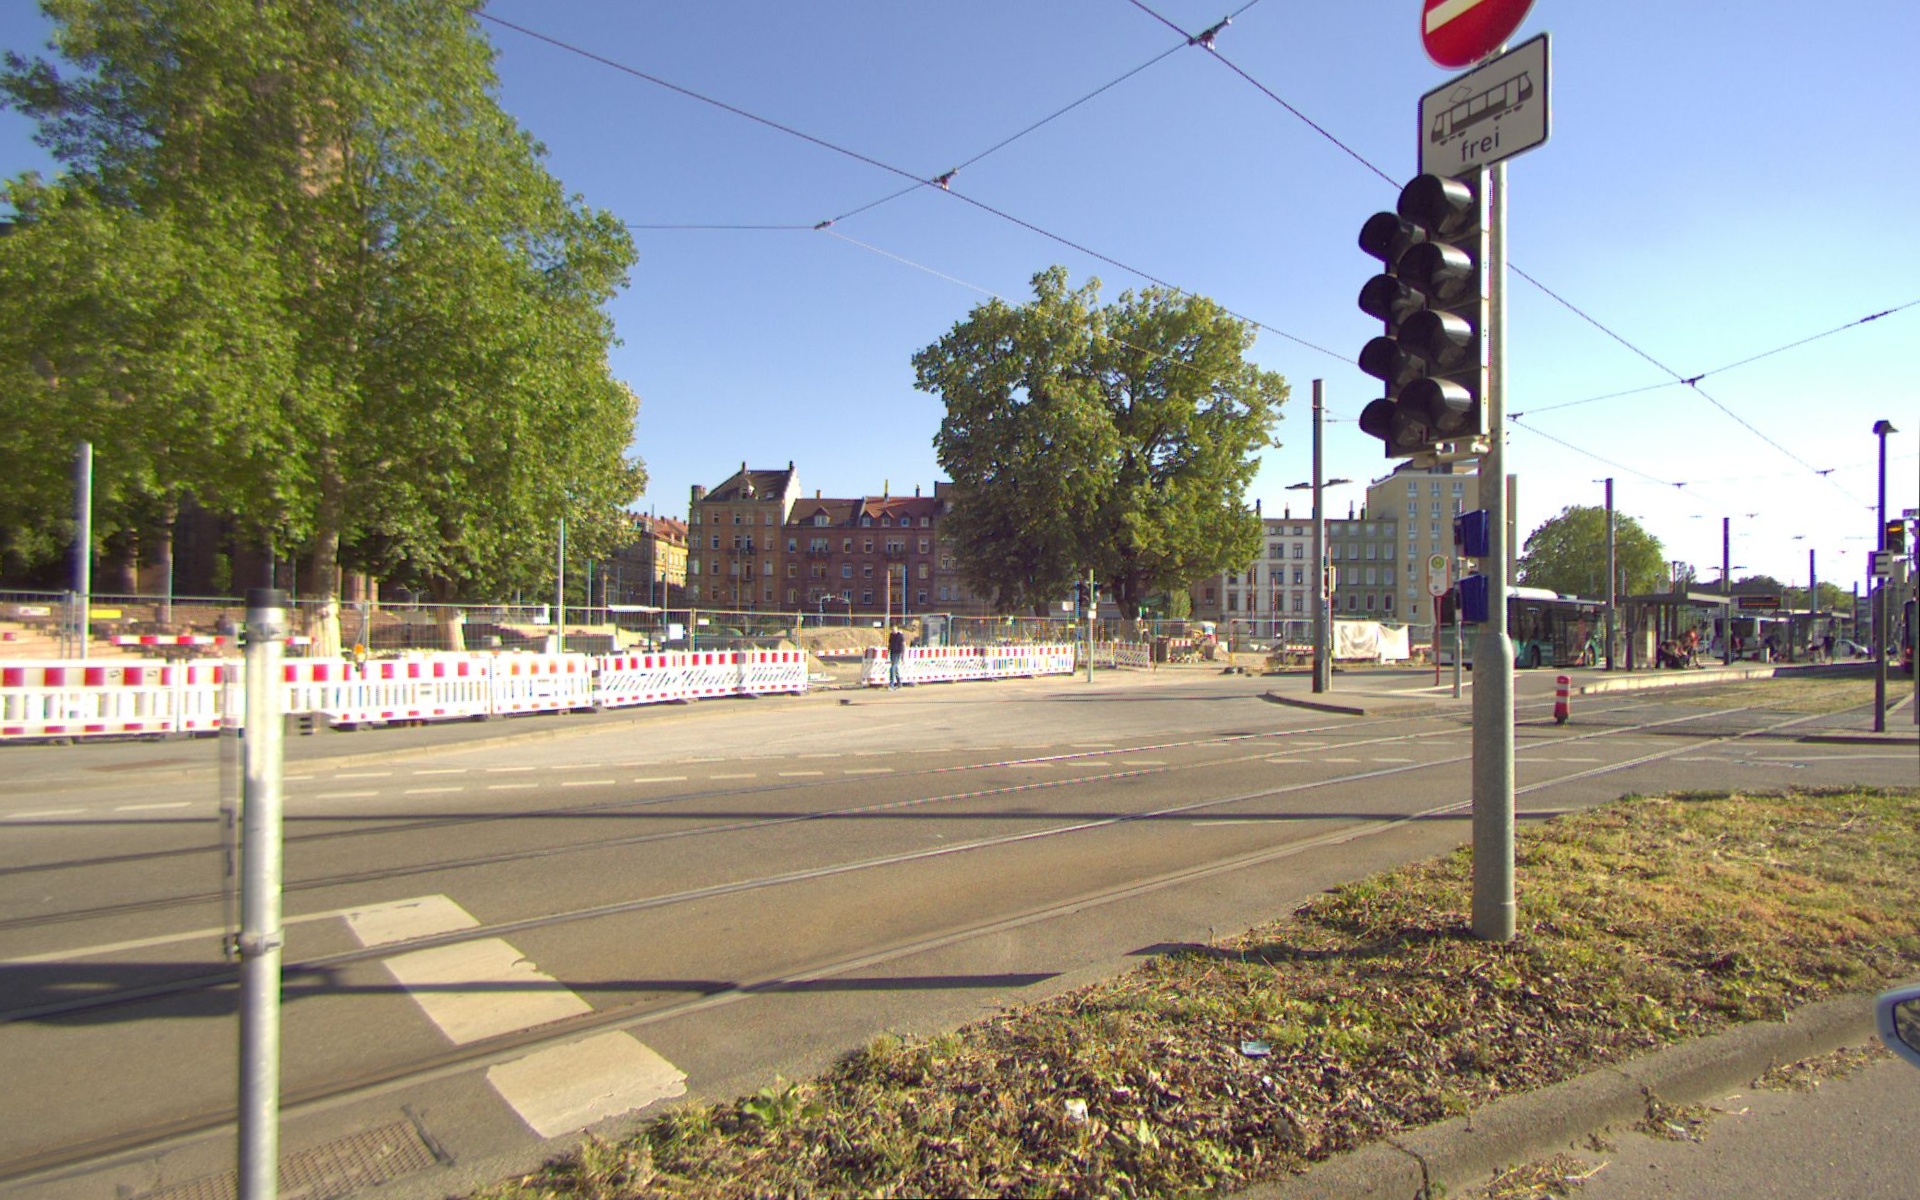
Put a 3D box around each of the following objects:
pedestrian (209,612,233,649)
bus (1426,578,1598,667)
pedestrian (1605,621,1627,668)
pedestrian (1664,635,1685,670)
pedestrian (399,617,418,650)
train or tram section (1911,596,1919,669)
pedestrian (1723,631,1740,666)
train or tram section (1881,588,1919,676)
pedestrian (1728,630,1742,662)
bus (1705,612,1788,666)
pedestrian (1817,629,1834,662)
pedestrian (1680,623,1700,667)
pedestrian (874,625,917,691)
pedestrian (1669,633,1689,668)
[{"bbox_3d":[-33.538,1.395,45.608,0.665,1.669,0.635,1,-1,-18],"label":"pedestrian"},{"bbox_3d":[22.030,0.903,39.762,9.564,3.177,2.631,2,0,-40],"label":"bus"},{"bbox_3d":[25.176,1.704,38.551,0.554,1.772,0.534,2,-2,-35],"label":"pedestrian"},{"bbox_3d":[27.703,2.022,38.944,0.609,1.358,0.438,-1,-2,44],"label":"pedestrian"},{"bbox_3d":[-27.715,1.676,50.518,0.751,1.669,0.671,1,-1,-26],"label":"pedestrian"},{"bbox_3d":[53.923,1.823,53.789,12.100,3.644,2.987,2,0,-40],"label":"train or tram section"},{"bbox_3d":[39.217,2.442,51.070,0.629,1.772,0.570,-1,-2,34],"label":"pedestrian"},{"bbox_3d":[44.785,1.495,45.837,12.108,3.644,2.855,2,0,-42],"label":"train or tram section"},{"bbox_3d":[44.600,2.641,57.787,0.564,1.772,0.636,-1,-2,41],"label":"pedestrian"},{"bbox_3d":[53.993,2.635,68.758,13.376,3.317,2.694,2,0,-44],"label":"bus"},{"bbox_3d":[47.806,2.514,55.497,0.629,1.772,0.570,-1,-2,34],"label":"pedestrian"},{"bbox_3d":[29.591,1.814,40.739,0.564,1.772,0.636,-1,-2,43],"label":"pedestrian"},{"bbox_3d":[-1.719,1.560,26.897,0.699,1.719,0.899,-1,-4,33],"label":"pedestrian"},{"bbox_3d":[28.212,1.986,39.419,0.564,1.363,0.636,-1,-2,43],"label":"pedestrian"}]
